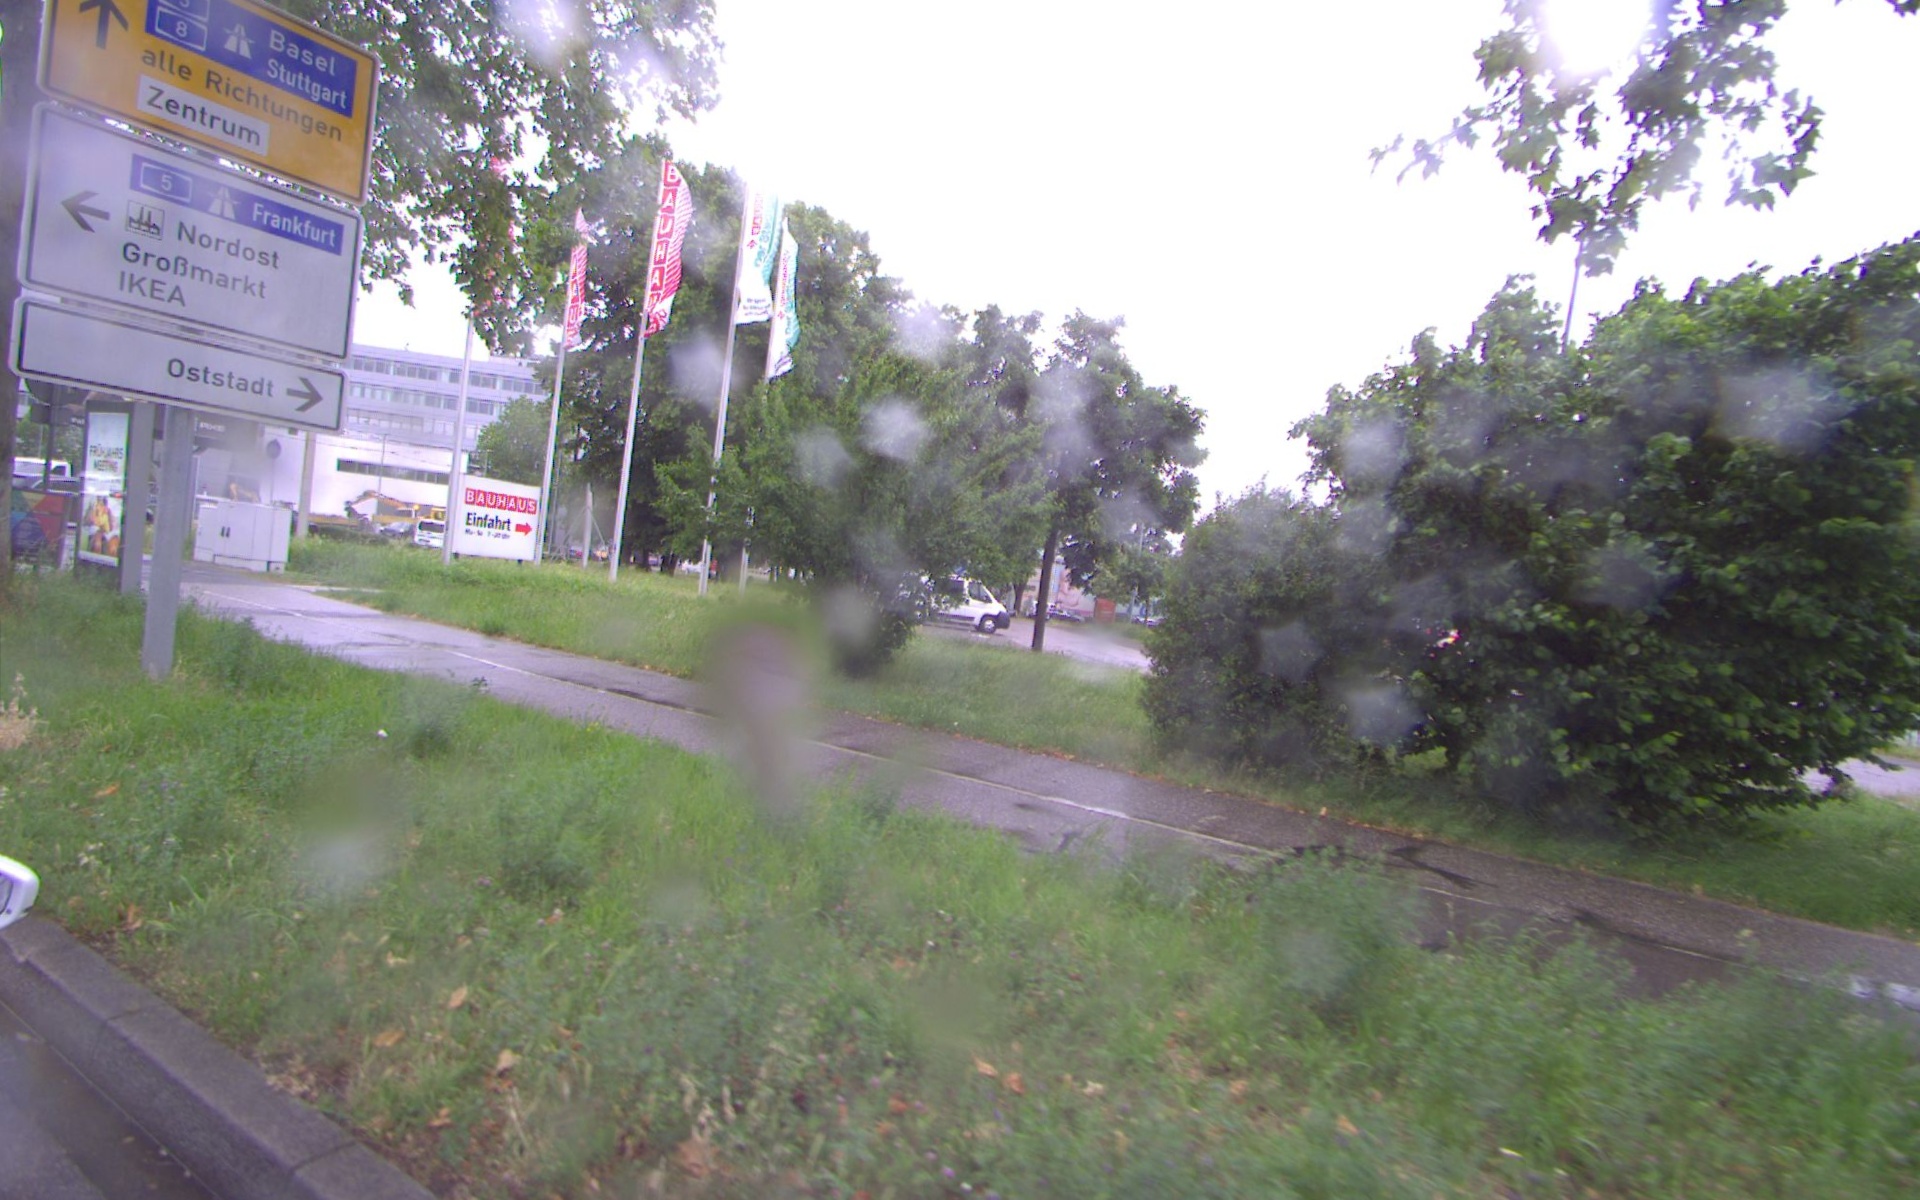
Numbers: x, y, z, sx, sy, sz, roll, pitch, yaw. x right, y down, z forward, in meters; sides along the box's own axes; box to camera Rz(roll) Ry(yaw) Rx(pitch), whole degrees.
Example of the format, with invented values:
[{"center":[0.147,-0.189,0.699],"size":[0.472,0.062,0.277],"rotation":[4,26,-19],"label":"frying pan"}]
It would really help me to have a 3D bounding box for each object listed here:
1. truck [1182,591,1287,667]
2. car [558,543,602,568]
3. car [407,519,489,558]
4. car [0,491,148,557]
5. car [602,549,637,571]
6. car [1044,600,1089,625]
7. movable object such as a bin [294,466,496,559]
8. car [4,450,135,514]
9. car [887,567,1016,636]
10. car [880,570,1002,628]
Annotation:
[{"center":[16.261,1.631,60.395],"size":[2.950,3.857,8.951],"rotation":[7,0,-4],"label":"truck"},{"center":[-29.375,-3.431,77.872],"size":[1.769,1.556,4.384],"rotation":[7,0,-4],"label":"car"},{"center":[-26.864,-3.176,52.908],"size":[1.768,1.556,4.387],"rotation":[7,0,3],"label":"car"},{"center":[-27.005,-2.286,29.998],"size":[1.768,1.556,4.387],"rotation":[7,0,3],"label":"car"},{"center":[-30.362,-3.542,89.895],"size":[1.770,1.556,4.383],"rotation":[7,0,-4],"label":"car"},{"center":[10.737,1.294,101.672],"size":[4.085,2.037,2.001],"rotation":[7,-1,1],"label":"car"},{"center":[-55.517,-8.466,99.614],"size":[14.695,6.356,8.270],"rotation":[7,-1,-2],"label":"movable object such as a bin"},{"center":[-38.264,-5.027,43.380],"size":[1.769,2.220,4.380],"rotation":[6,2,-3],"label":"car"},{"center":[-0.380,0.072,41.051],"size":[4.833,2.180,1.803],"rotation":[7,0,-9],"label":"car"},{"center":[-1.122,-0.075,58.258],"size":[6.702,2.464,2.327],"rotation":[7,0,-4],"label":"car"}]
